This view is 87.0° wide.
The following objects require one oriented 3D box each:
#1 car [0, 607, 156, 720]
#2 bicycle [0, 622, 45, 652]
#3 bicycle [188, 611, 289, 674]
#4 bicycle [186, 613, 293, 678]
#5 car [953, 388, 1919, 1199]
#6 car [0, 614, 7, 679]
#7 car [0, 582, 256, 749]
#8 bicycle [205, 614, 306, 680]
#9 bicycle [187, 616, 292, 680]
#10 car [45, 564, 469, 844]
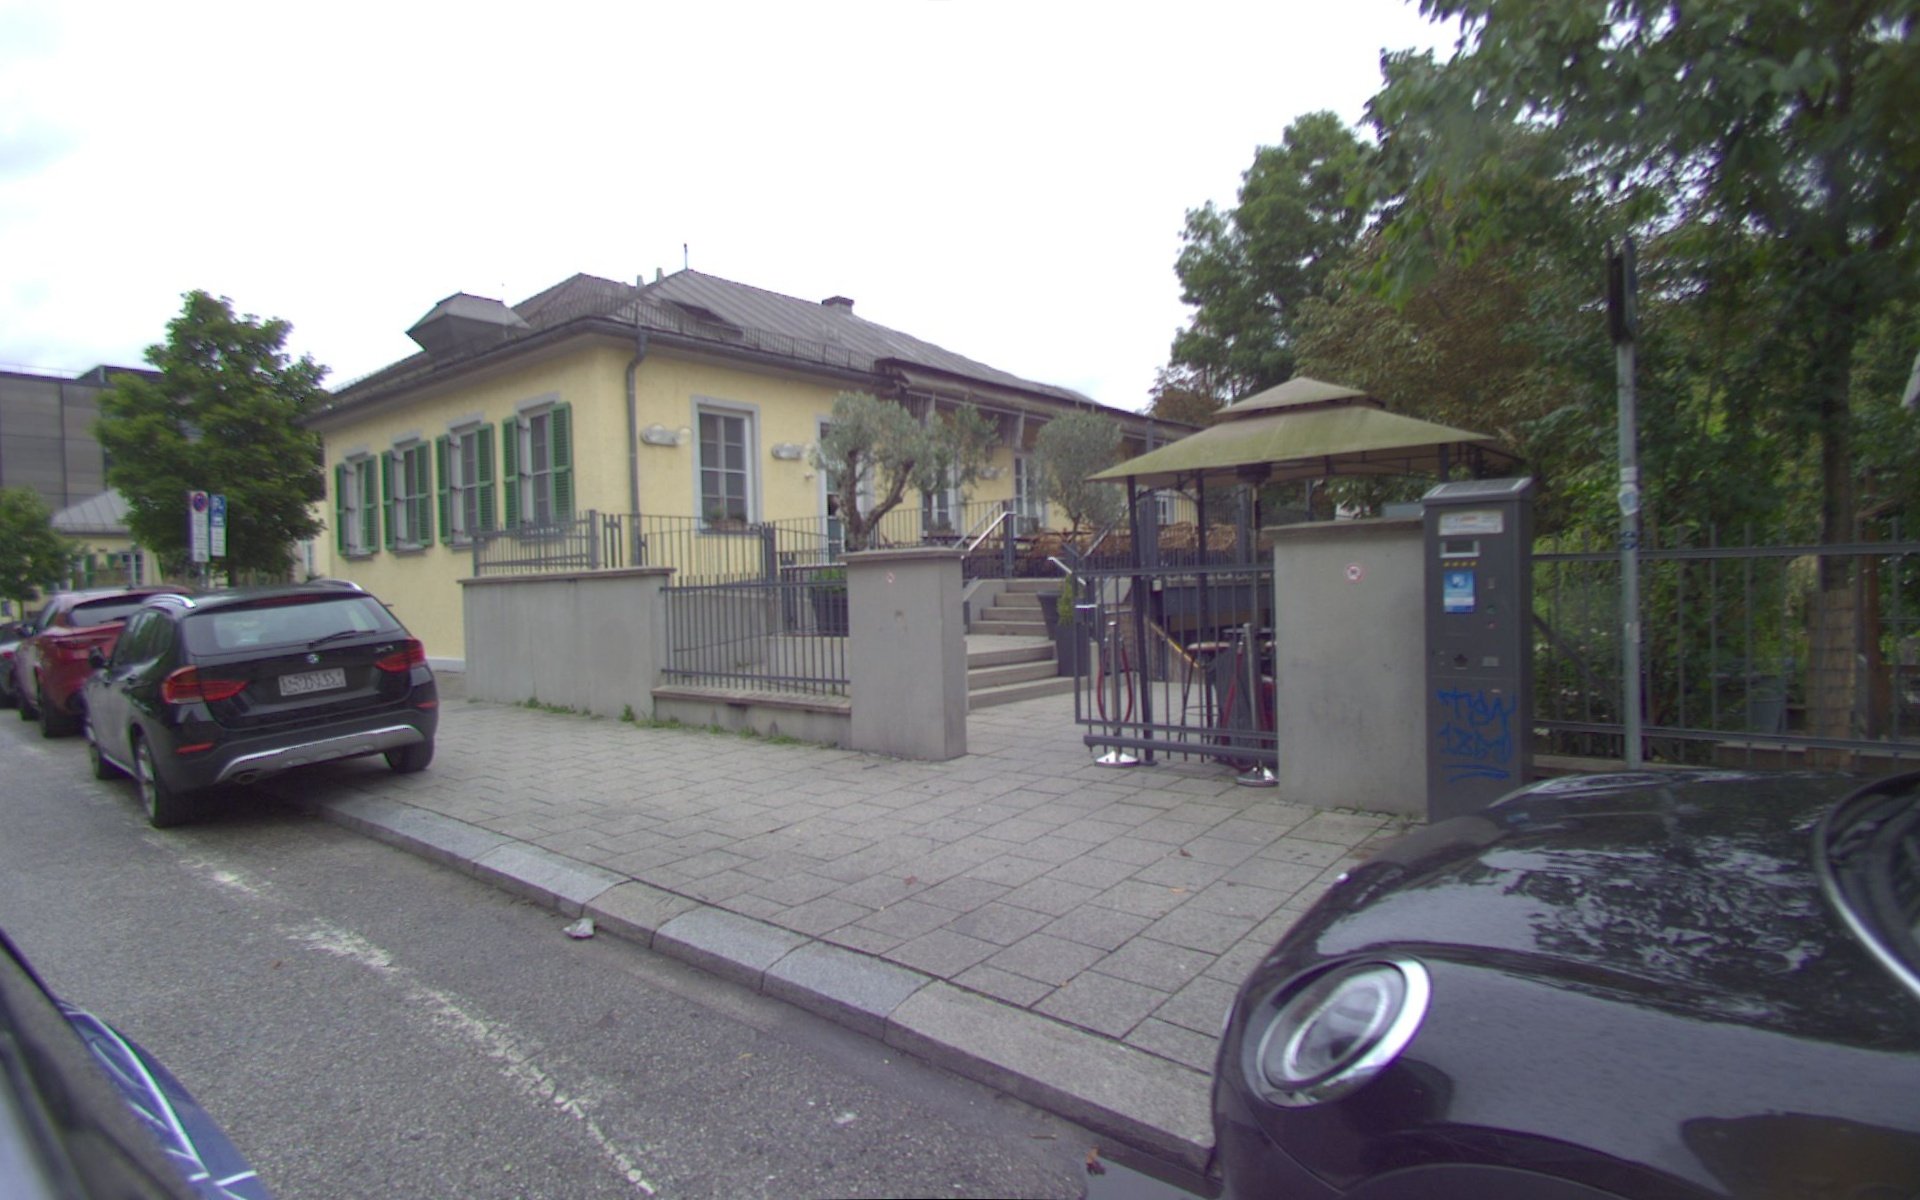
[{"bbox_3d":[-15.032,0.962,16.574,4.649,1.530,1.878,-2,2,39],"label":"car"},{"bbox_3d":[-37.460,1.492,39.968,0.466,1.042,1.825,-2,5,39],"label":"bicycle"},{"bbox_3d":[-14.782,0.853,20.762,1.609,1.182,0.467,-3,1,-42],"label":"bicycle"},{"bbox_3d":[-14.342,0.880,20.190,0.352,1.180,1.684,-2,0,39],"label":"bicycle"},{"bbox_3d":[2.148,0.571,1.022,4.187,1.556,1.839,-1,-1,42],"label":"car"},{"bbox_3d":[-24.528,1.170,24.434,4.458,1.503,1.707,-1,2,41],"label":"car"},{"bbox_3d":[-10.920,0.729,13.094,4.807,1.704,1.882,-1,2,42],"label":"car"},{"bbox_3d":[-13.630,0.888,19.602,0.642,1.157,1.475,-2,1,42],"label":"bicycle"},{"bbox_3d":[-14.124,0.914,19.864,0.387,1.145,1.612,-2,0,39],"label":"bicycle"},{"bbox_3d":[-5.947,0.632,8.280,4.742,1.619,1.826,-1,2,43],"label":"car"}]
